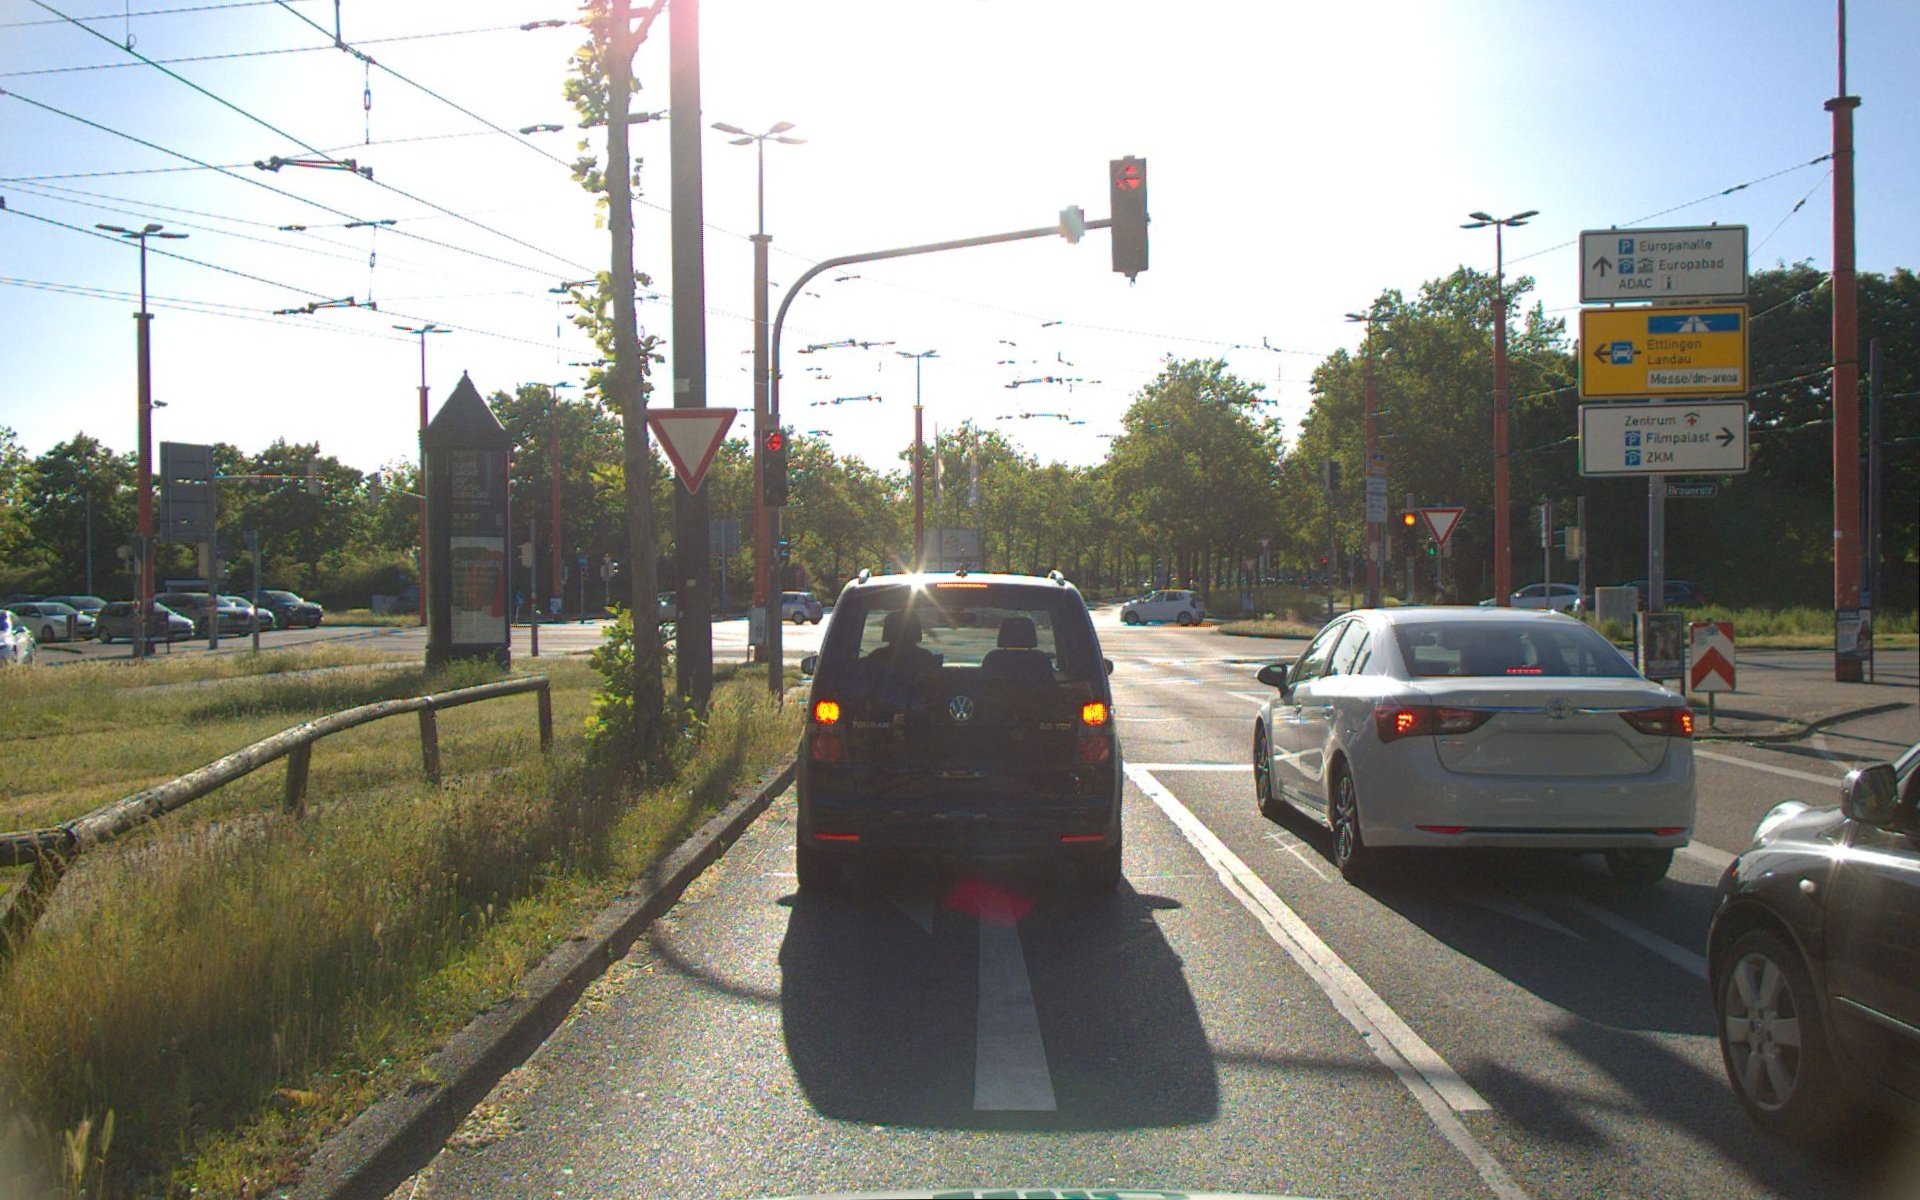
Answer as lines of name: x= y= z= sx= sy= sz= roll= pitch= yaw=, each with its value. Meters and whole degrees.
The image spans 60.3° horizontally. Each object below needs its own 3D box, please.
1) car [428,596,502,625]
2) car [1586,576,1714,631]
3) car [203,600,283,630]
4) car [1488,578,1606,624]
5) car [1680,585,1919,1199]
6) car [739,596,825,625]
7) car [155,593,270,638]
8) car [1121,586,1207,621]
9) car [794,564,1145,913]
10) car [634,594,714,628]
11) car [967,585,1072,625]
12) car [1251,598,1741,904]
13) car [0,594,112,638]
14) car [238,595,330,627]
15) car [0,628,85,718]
car: x=-26.284 y=0.547 z=87.824 sx=3.662 sy=1.499 sz=1.599 roll=0 pitch=0 yaw=26
car: x=24.410 y=0.117 z=58.574 sx=4.108 sy=1.916 sz=1.766 roll=0 pitch=0 yaw=23
car: x=-29.580 y=0.611 z=68.258 sx=3.102 sy=1.219 sz=1.526 roll=0 pitch=0 yaw=31
car: x=22.286 y=0.033 z=62.785 sx=4.144 sy=1.711 sz=1.702 roll=0 pitch=0 yaw=23
car: x=3.169 y=0.741 z=3.588 sx=1.620 sy=1.526 sz=3.614 roll=1 pitch=0 yaw=0
car: x=-8.433 y=0.479 z=78.447 sx=3.753 sy=1.286 sz=1.601 roll=1 pitch=0 yaw=26
car: x=-28.979 y=0.575 z=64.126 sx=3.907 sy=1.673 sz=1.999 roll=0 pitch=0 yaw=24
car: x=8.599 y=0.137 z=69.742 sx=3.368 sy=1.392 sz=1.289 roll=1 pitch=0 yaw=26
car: x=0.010 y=0.649 z=9.816 sx=1.666 sy=1.650 sz=3.896 roll=0 pitch=0 yaw=-1
car: x=-12.992 y=0.495 z=75.173 sx=3.325 sy=1.483 sz=1.464 roll=0 pitch=0 yaw=23
car: x=2.491 y=0.218 z=68.957 sx=3.942 sy=1.624 sz=2.000 roll=0 pitch=0 yaw=23
car: x=2.976 y=0.731 z=10.143 sx=1.685 sy=1.463 sz=4.198 roll=1 pitch=0 yaw=1
car: x=-34.636 y=0.592 z=63.204 sx=4.091 sy=1.640 sz=1.867 roll=0 pitch=0 yaw=25
car: x=-29.273 y=0.476 z=71.596 sx=3.913 sy=1.353 sz=1.694 roll=0 pitch=0 yaw=31
car: x=-21.255 y=1.563 z=36.549 sx=1.957 sy=1.761 sz=4.834 roll=0 pitch=0 yaw=-10
